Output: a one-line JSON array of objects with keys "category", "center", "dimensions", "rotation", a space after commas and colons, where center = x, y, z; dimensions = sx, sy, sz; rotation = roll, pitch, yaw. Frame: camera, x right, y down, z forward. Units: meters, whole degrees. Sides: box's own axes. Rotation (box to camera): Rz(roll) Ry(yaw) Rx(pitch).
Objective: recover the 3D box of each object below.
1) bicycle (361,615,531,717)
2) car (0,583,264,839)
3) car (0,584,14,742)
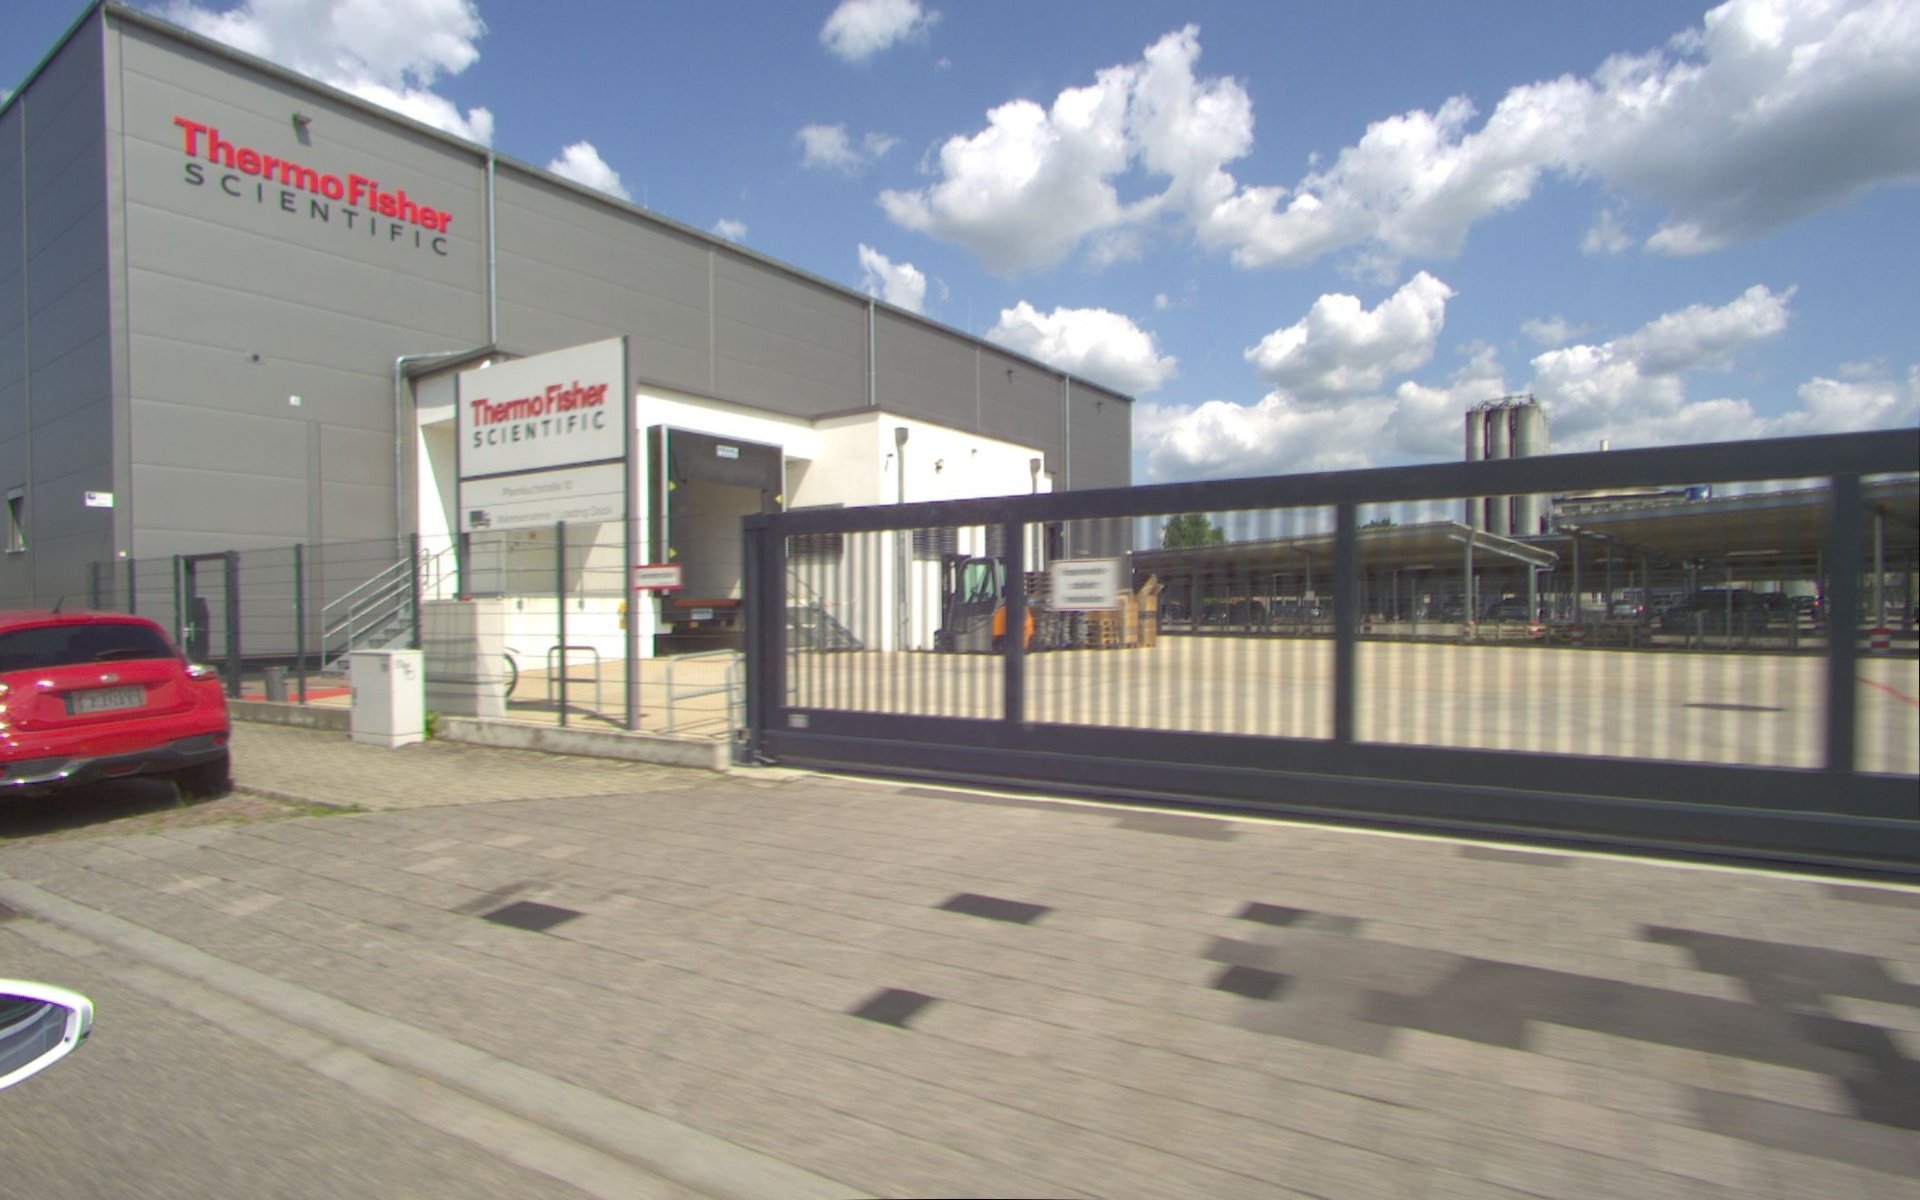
[{"category": "bicycle", "center": [-6.596, 0.809, 12.961], "dimensions": [0.451, 1.158, 1.943], "rotation": [0, 1, 34]}, {"category": "car", "center": [-7.703, 0.752, 8.245], "dimensions": [4.033, 1.647, 1.700], "rotation": [-1, 2, 32]}, {"category": "car", "center": [-13.454, 0.716, 11.886], "dimensions": [5.075, 1.930, 2.047], "rotation": [-1, 3, 34]}]
